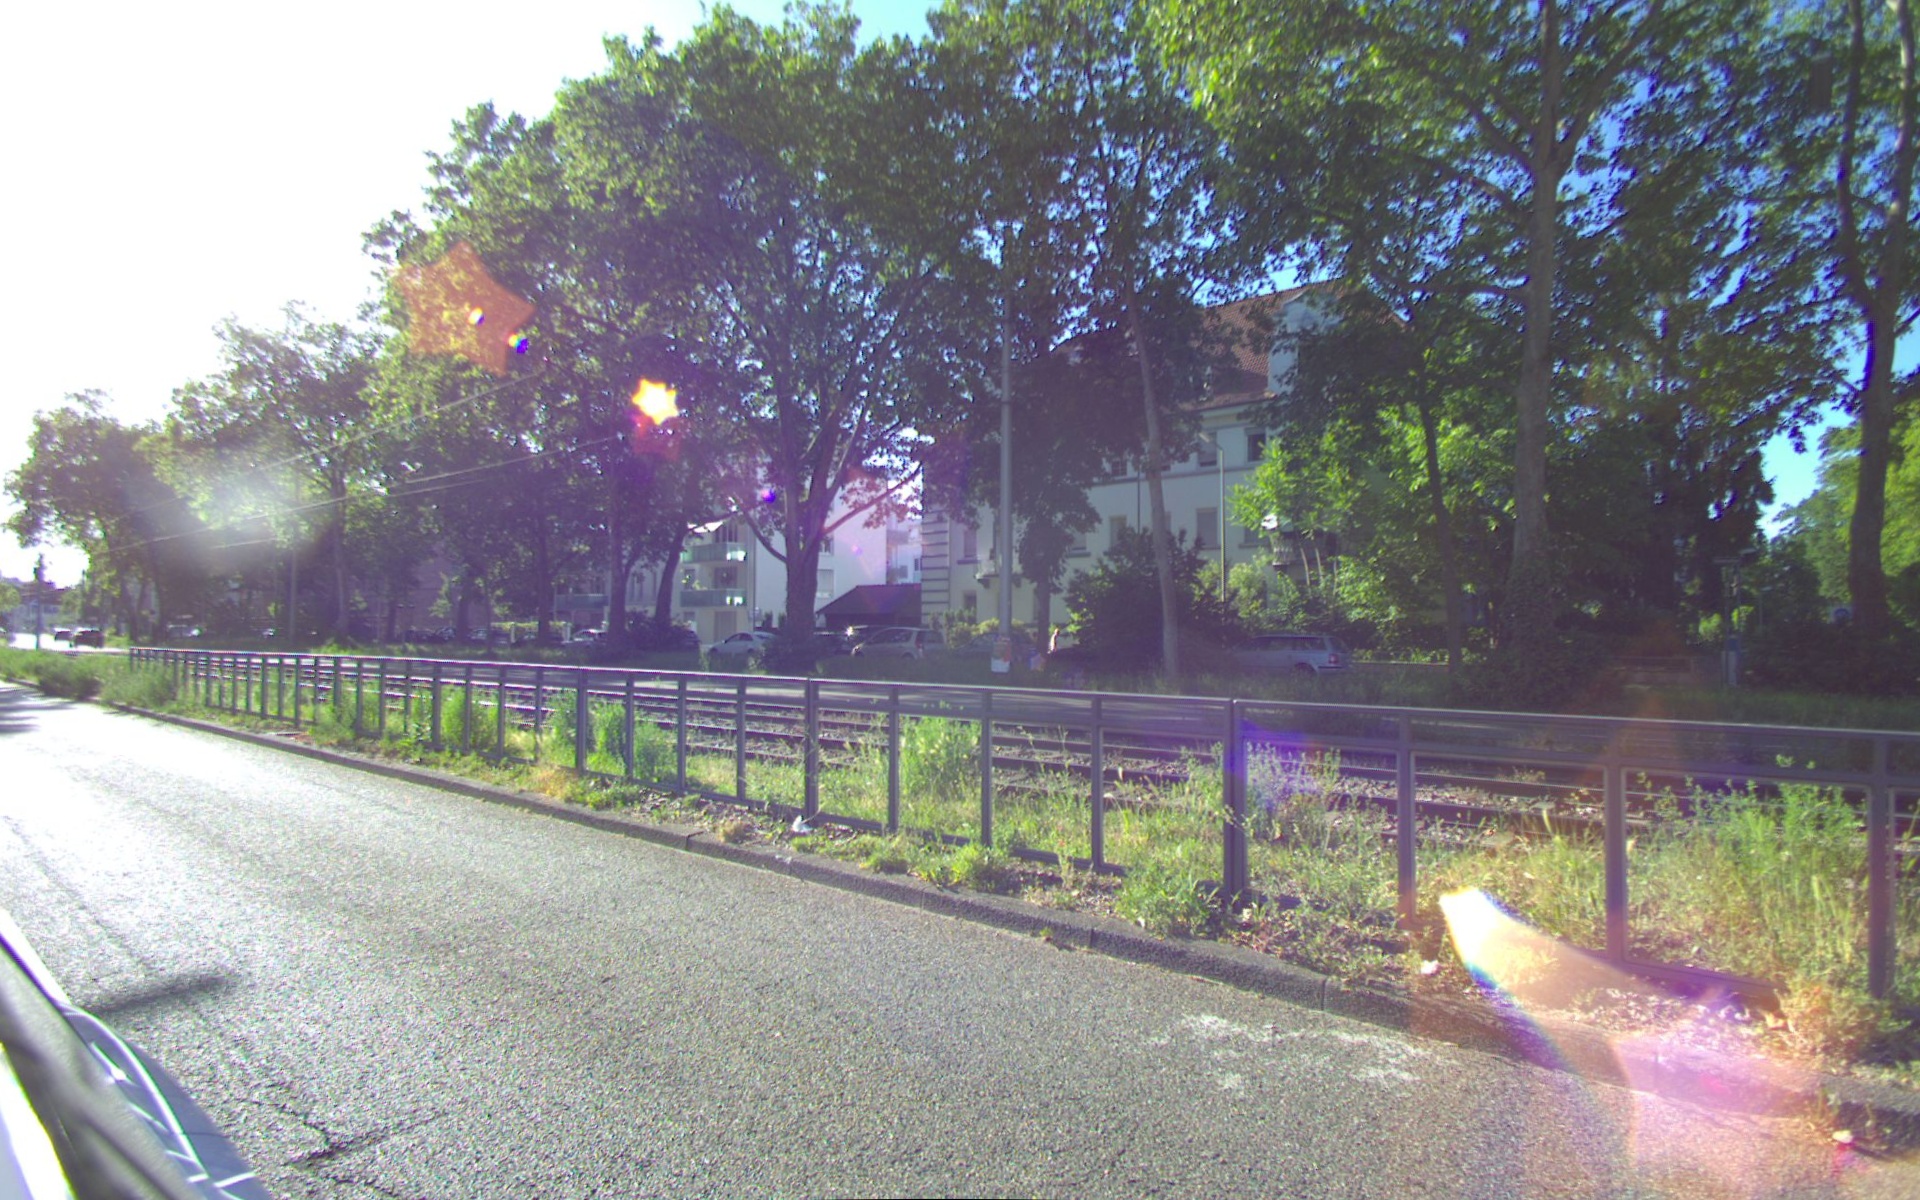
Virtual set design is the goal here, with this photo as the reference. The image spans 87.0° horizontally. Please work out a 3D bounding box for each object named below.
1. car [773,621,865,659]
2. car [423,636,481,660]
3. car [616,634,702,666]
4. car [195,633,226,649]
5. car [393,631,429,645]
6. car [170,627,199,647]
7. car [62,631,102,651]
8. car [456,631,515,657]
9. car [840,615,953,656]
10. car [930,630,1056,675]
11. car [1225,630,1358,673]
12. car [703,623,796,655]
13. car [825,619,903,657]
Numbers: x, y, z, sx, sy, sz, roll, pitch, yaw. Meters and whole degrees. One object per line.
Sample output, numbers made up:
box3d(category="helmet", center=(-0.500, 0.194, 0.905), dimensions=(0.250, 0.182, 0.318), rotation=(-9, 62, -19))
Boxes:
box3d(category="car", center=(-5.771, 1.608, 41.257), dimensions=(3.696, 1.476, 1.756), rotation=(-2, -2, 42))
box3d(category="car", center=(-32.274, 3.024, 64.308), dimensions=(3.998, 1.497, 1.972), rotation=(-2, -2, 42))
box3d(category="car", center=(-14.474, 2.377, 48.600), dimensions=(4.317, 1.464, 1.972), rotation=(-2, -2, 42))
box3d(category="car", center=(-73.382, 3.989, 99.057), dimensions=(3.687, 1.497, 1.748), rotation=(-2, -2, 42))
box3d(category="car", center=(-36.512, 2.540, 67.275), dimensions=(3.058, 0.883, 1.094), rotation=(-2, -2, 41))
box3d(category="car", center=(-81.105, 3.899, 105.812), dimensions=(1.970, 2.029, 4.002), rotation=(1, -2, -45))
box3d(category="car", center=(-74.558, 3.483, 85.924), dimensions=(4.456, 1.660, 1.839), rotation=(-2, -2, 40))
box3d(category="car", center=(-28.634, 2.644, 61.038), dimensions=(3.998, 1.484, 1.778), rotation=(-2, -2, 41))
box3d(category="car", center=(-2.442, 1.338, 38.154), dimensions=(4.317, 1.451, 1.717), rotation=(-2, -2, 42))
box3d(category="car", center=(1.096, 1.790, 35.030), dimensions=(4.320, 1.452, 1.764), rotation=(-2, -2, 45))
box3d(category="car", center=(9.191, 1.411, 28.130), dimensions=(3.213, 1.125, 1.458), rotation=(-2, -2, 38))
box3d(category="car", center=(-9.239, 1.715, 44.201), dimensions=(4.459, 1.334, 1.623), rotation=(-2, -4, 42))
box3d(category="car", center=(-4.947, 1.951, 51.791), dimensions=(3.818, 1.874, 1.830), rotation=(-2, -3, 40))
